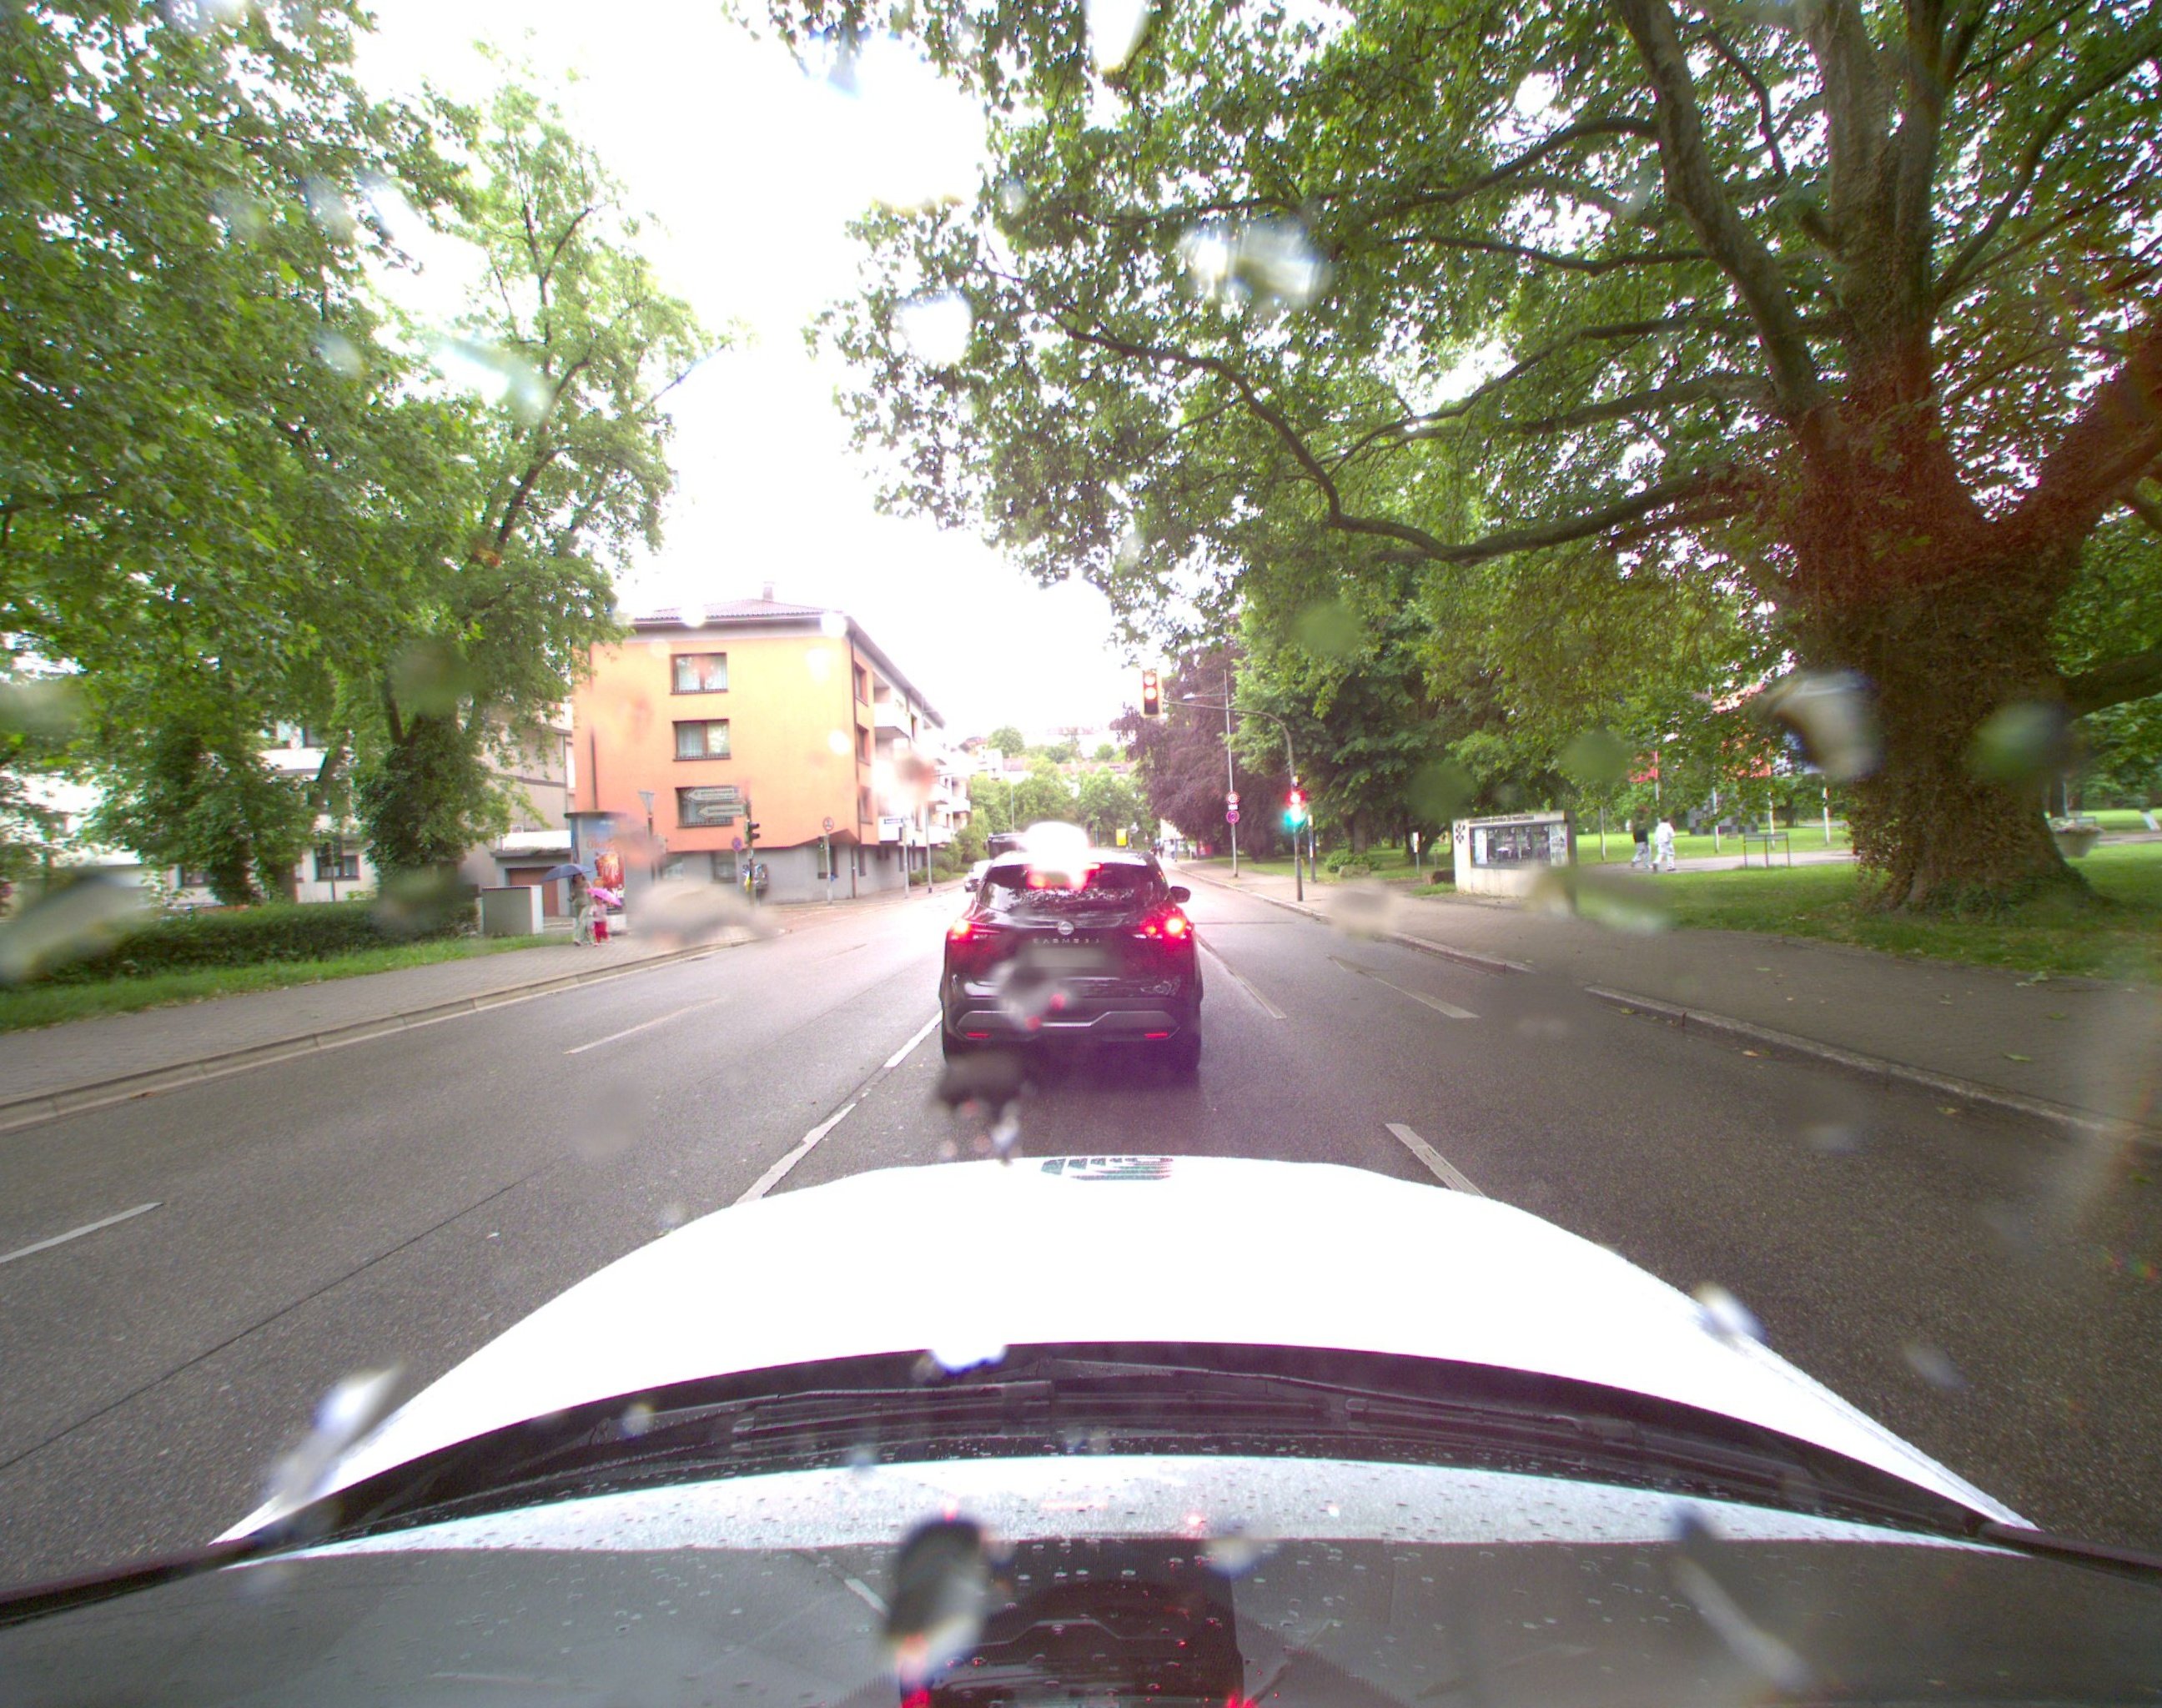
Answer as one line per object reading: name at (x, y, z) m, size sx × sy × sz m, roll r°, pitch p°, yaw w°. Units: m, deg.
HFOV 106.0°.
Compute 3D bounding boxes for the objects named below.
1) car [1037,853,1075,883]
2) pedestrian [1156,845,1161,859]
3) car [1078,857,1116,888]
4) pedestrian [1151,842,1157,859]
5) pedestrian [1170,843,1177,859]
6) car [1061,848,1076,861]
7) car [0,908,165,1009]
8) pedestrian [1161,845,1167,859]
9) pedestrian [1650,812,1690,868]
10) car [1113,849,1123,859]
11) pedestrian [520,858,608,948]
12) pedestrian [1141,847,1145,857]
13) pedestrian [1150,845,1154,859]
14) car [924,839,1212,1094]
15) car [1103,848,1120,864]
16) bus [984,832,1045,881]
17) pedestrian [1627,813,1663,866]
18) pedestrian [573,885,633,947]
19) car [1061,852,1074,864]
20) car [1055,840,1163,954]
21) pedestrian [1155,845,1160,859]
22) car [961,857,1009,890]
car at (-1.261, 0.706, 42.394) m, size 1.618 × 1.415 × 3.456 m, roll -3°, pitch 0°, yaw 2°
pedestrian at (9.258, -0.289, 97.254) m, size 0.513 × 1.655 × 0.550 m, roll 0°, pitch -1°, yaw 1°
car at (0.798, 0.918, 41.262) m, size 1.802 × 1.417 × 4.031 m, roll -2°, pitch 0°, yaw 1°
pedestrian at (9.820, -0.458, 109.693) m, size 0.764 × 2.183 × 0.712 m, roll 0°, pitch -1°, yaw 5°
pedestrian at (10.819, -0.365, 95.423) m, size 0.616 × 1.779 × 0.779 m, roll -3°, pitch 0°, yaw 1°
car at (-1.605, 0.021, 104.130) m, size 1.671 × 1.469 × 4.217 m, roll -4°, pitch 0°, yaw 1°
car at (-18.007, 1.739, 13.803) m, size 3.182 × 1.524 × 1.507 m, roll 0°, pitch -1°, yaw -1°
pedestrian at (10.051, -0.269, 99.022) m, size 0.696 × 1.651 × 0.628 m, roll 0°, pitch -1°, yaw 2°
pedestrian at (18.473, -0.430, 25.551) m, size 0.663 × 1.712 × 0.788 m, roll 0°, pitch -1°, yaw -7°
car at (6.436, -0.069, 142.467) m, size 1.743 × 1.633 × 3.636 m, roll -3°, pitch 0°, yaw 2°
pedestrian at (-10.418, 0.954, 16.460) m, size 0.988 × 1.742 × 1.210 m, roll -1°, pitch 0°, yaw 1°
pedestrian at (13.300, -0.489, 174.723) m, size 0.696 × 2.013 × 0.583 m, roll -3°, pitch 0°, yaw 1°
pedestrian at (8.629, -0.259, 98.956) m, size 0.473 × 1.651 × 0.490 m, roll 0°, pitch -1°, yaw 2°
car at (-0.021, 0.723, 7.126) m, size 1.799 × 1.590 × 4.001 m, roll 0°, pitch -1°, yaw 2°
car at (3.161, 0.191, 83.268) m, size 1.618 × 1.415 × 3.456 m, roll -3°, pitch 0°, yaw 2°
bus at (-4.464, 0.192, 57.312) m, size 2.756 × 2.974 × 11.786 m, roll -3°, pitch 0°, yaw 2°
pedestrian at (18.696, -0.475, 27.000) m, size 0.663 × 1.756 × 0.722 m, roll 0°, pitch -1°, yaw -7°
pedestrian at (-9.482, 1.215, 16.176) m, size 0.681 × 1.175 × 0.827 m, roll -1°, pitch 0°, yaw 1°
car at (-2.046, 0.631, 125.613) m, size 1.743 × 1.633 × 3.636 m, roll -3°, pitch 0°, yaw 2°
car at (0.552, 0.675, 14.762) m, size 1.615 × 1.709 × 3.774 m, roll -3°, pitch 0°, yaw 3°
pedestrian at (9.305, -0.264, 98.958) m, size 0.542 × 1.651 × 0.490 m, roll 0°, pitch -1°, yaw 2°
car at (-4.807, 0.968, 41.260) m, size 1.802 × 1.417 × 4.031 m, roll -4°, pitch 0°, yaw 1°
